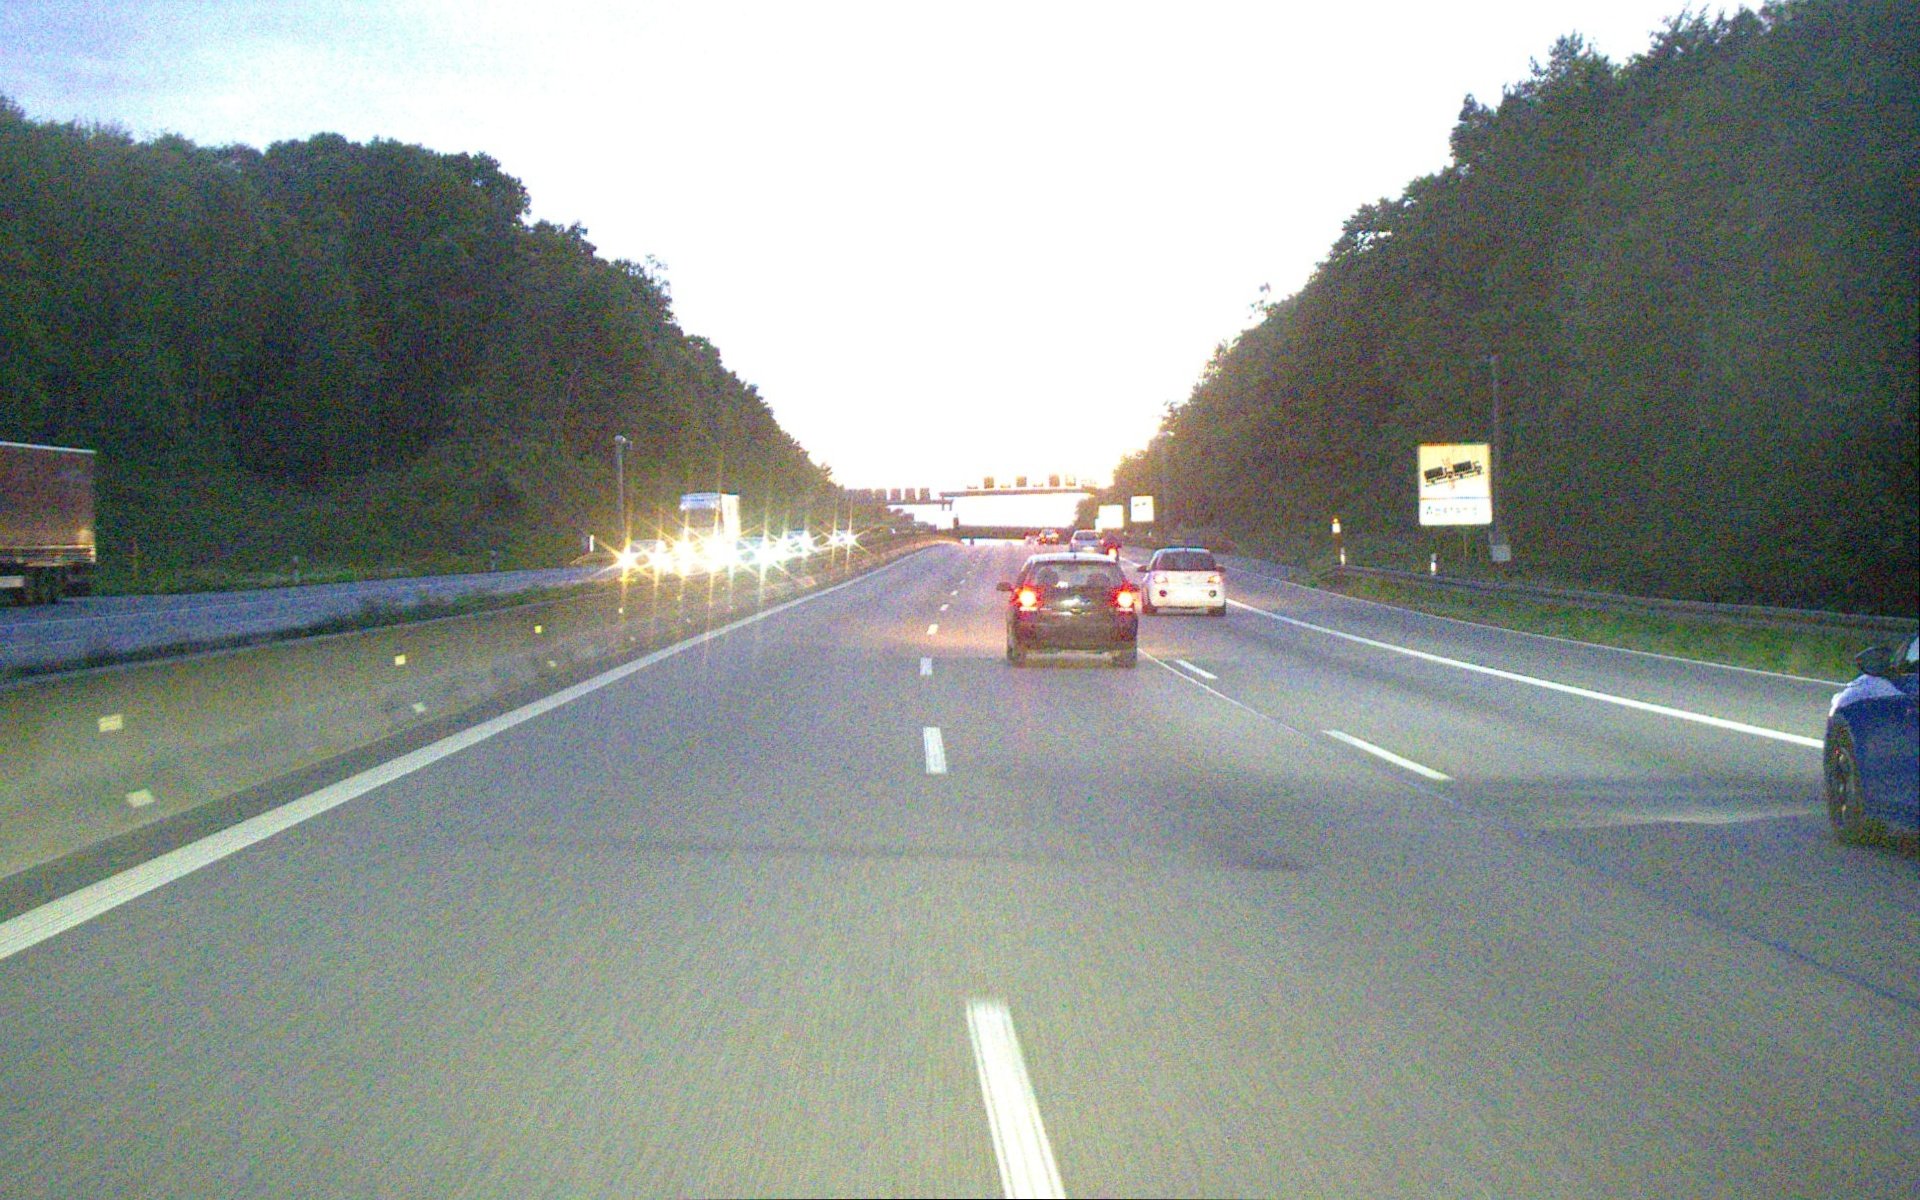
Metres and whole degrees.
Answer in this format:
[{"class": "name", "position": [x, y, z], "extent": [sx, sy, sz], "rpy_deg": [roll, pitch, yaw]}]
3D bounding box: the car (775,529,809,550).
[{"class": "car", "position": [-11.491, -4.165, 235.691], "extent": [1.910, 1.446, 5.354], "rpy_deg": [0, 1, 1]}]

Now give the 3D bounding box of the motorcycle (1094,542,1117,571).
[{"class": "motorcycle", "position": [5.693, -1.718, 134.932], "extent": [0.829, 1.130, 2.476], "rpy_deg": [0, 0, 1]}]

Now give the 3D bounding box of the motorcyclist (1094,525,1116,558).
[{"class": "motorcyclist", "position": [5.688, -2.298, 134.859], "extent": [0.829, 1.287, 1.190], "rpy_deg": [0, 0, 1]}]

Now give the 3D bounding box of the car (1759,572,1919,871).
[{"class": "car", "position": [5.579, 0.608, 17.301], "extent": [1.865, 1.431, 4.584], "rpy_deg": [1, 1, -2]}]

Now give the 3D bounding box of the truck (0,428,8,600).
[{"class": "truck", "position": [-24.620, -2.033, 78.895], "extent": [3.191, 4.091, 7.689], "rpy_deg": [0, 1, 2]}]

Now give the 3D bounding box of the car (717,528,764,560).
[{"class": "car", "position": [-9.549, -2.455, 149.692], "extent": [1.850, 1.377, 4.645], "rpy_deg": [0, 1, -1]}]

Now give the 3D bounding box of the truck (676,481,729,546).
[{"class": "truck", "position": [-15.926, -5.351, 213.273], "extent": [2.647, 3.958, 7.122], "rpy_deg": [0, 1, 1]}]

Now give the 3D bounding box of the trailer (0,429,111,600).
[{"class": "trailer", "position": [-24.460, -2.076, 84.644], "extent": [3.191, 4.091, 14.183], "rpy_deg": [0, 1, 2]}]

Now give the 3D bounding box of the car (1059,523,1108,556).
[{"class": "car", "position": [5.876, -2.875, 164.223], "extent": [1.865, 1.489, 4.399], "rpy_deg": [1, 0, -4]}]

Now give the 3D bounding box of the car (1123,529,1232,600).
[{"class": "car", "position": [4.744, -0.763, 75.587], "extent": [1.825, 1.471, 4.399], "rpy_deg": [1, 0, -4]}]

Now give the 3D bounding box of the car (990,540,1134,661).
[{"class": "car", "position": [1.309, 0.006, 45.533], "extent": [1.704, 1.504, 4.232], "rpy_deg": [1, 0, -1]}]

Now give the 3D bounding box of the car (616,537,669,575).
[{"class": "car", "position": [-12.763, -1.793, 138.404], "extent": [1.686, 1.510, 4.415], "rpy_deg": [0, 1, 1]}]
